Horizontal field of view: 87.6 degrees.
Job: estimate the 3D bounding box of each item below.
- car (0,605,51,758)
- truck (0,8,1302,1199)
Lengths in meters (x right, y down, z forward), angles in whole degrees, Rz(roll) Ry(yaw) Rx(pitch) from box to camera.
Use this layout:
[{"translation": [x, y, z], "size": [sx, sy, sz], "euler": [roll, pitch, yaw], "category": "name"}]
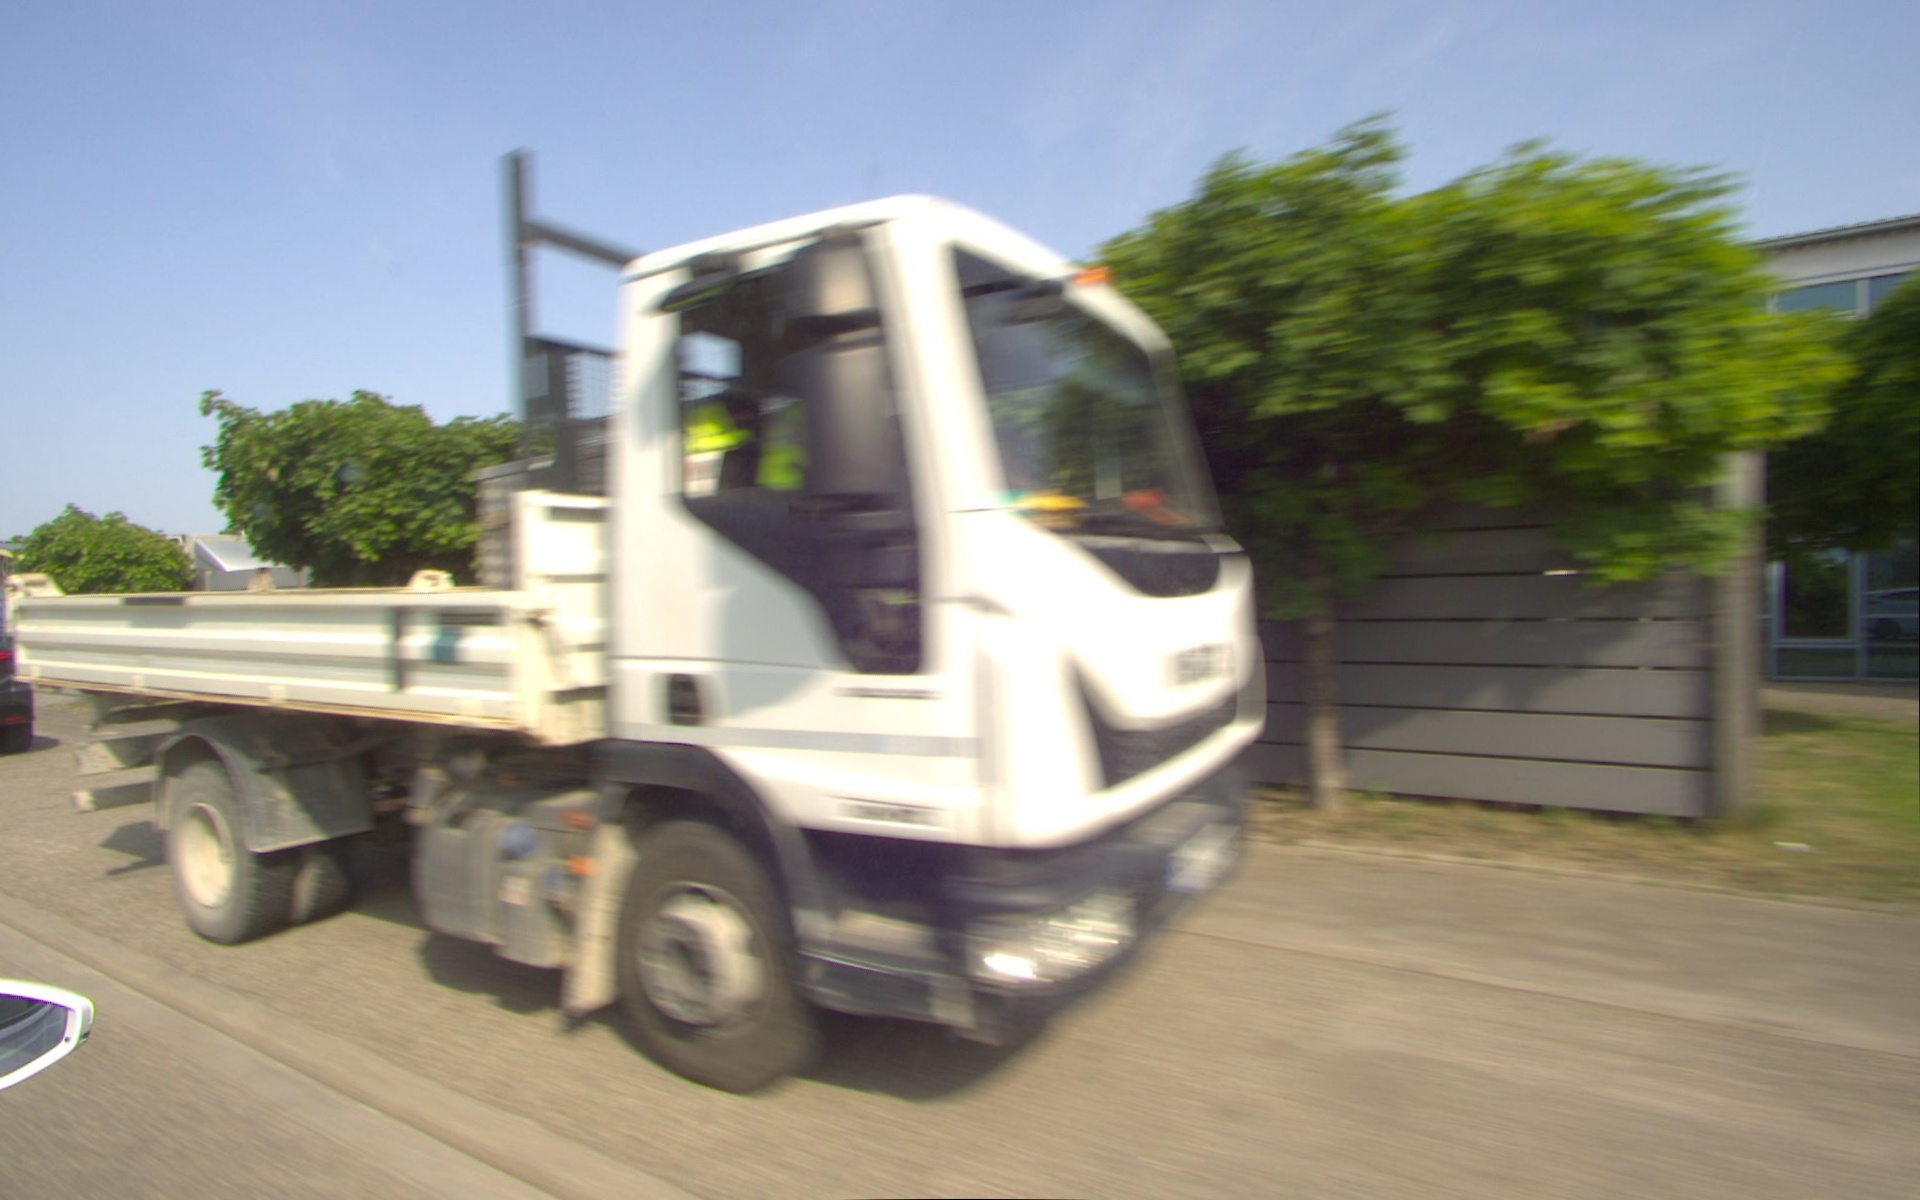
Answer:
[{"translation": [-11.893, 0.884, 11.020], "size": [3.943, 1.581, 1.790], "euler": [-1, 1, 32], "category": "car"}, {"translation": [-1.948, 0.174, 4.738], "size": [6.413, 2.718, 2.355], "euler": [-1, 1, 30], "category": "truck"}]
